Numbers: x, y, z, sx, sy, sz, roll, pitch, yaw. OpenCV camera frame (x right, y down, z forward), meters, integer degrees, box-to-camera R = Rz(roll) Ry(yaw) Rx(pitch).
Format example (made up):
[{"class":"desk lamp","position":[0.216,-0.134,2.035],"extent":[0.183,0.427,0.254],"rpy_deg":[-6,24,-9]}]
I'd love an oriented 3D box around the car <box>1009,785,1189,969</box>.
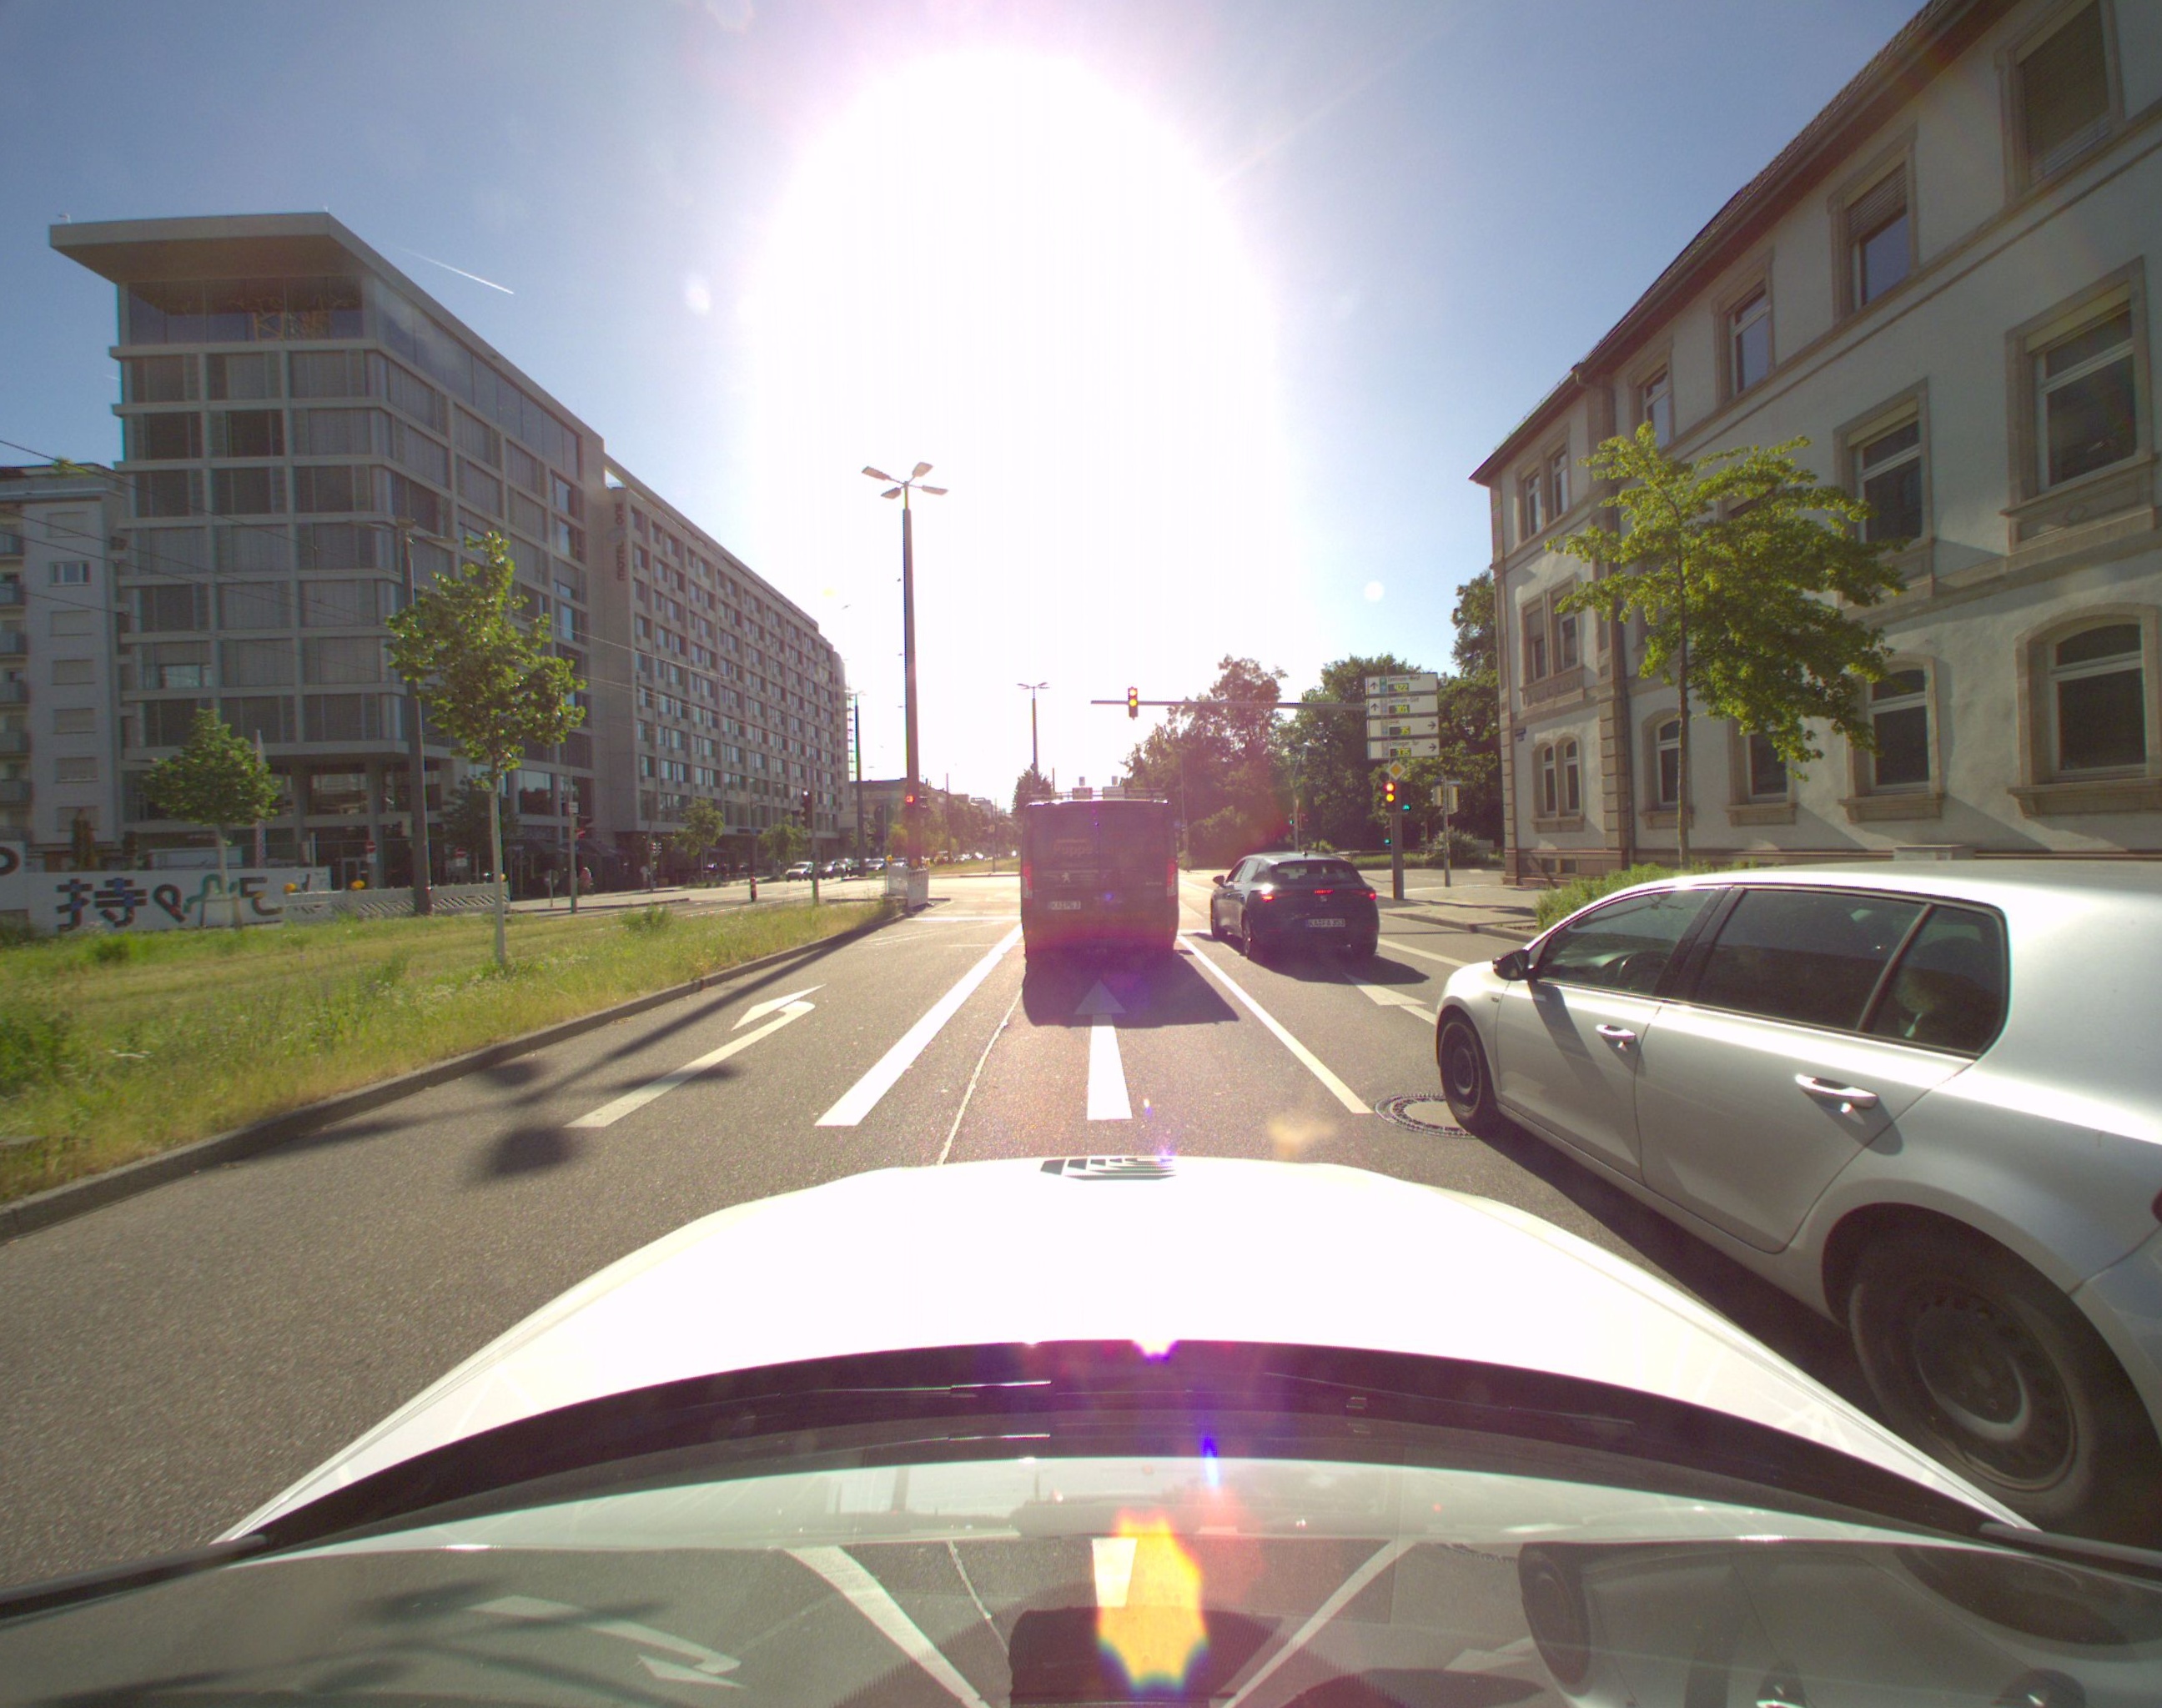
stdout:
[{"class":"car","position":[0.237,0.256,12.398],"extent":[2.211,2.267,4.484],"rpy_deg":[-1,1,0]}]

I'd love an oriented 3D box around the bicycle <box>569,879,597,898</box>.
[{"class":"bicycle","position":[-29.756,2.046,48.683],"extent":[0.584,1.100,1.625],"rpy_deg":[0,0,5]}]

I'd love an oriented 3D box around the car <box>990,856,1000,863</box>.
[{"class":"car","position":[-21.730,1.268,205.269],"extent":[1.783,1.651,4.002],"rpy_deg":[-2,0,2]}]

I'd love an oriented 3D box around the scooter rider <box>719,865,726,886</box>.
[{"class":"scooter rider","position":[-25.816,1.545,58.710],"extent":[0.341,1.453,0.239],"rpy_deg":[-2,0,1]}]

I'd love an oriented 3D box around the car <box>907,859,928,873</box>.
[{"class":"car","position":[-22.066,1.621,110.036],"extent":[1.783,1.651,4.002],"rpy_deg":[-2,0,2]}]

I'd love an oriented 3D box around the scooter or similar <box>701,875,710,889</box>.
[{"class":"scooter or similar","position":[-27.074,2.038,58.749],"extent":[0.285,0.947,0.766],"rpy_deg":[-2,0,-6]}]

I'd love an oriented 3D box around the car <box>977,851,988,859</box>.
[{"class":"car","position":[-21.431,0.145,177.096],"extent":[1.783,1.651,4.002],"rpy_deg":[-2,0,2]}]

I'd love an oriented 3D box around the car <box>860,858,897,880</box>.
[{"class":"car","position":[-16.692,1.219,67.458],"extent":[1.783,1.651,4.337],"rpy_deg":[-2,0,2]}]

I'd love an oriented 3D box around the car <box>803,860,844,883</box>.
[{"class":"car","position":[-20.276,1.338,64.296],"extent":[1.783,1.651,4.002],"rpy_deg":[-2,0,2]}]

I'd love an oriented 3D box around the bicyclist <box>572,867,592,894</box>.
[{"class":"bicyclist","position":[-29.825,1.575,48.648],"extent":[0.590,1.580,0.894],"rpy_deg":[0,0,5]}]

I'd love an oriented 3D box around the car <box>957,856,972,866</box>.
[{"class":"car","position":[-20.044,1.156,140.591],"extent":[1.783,1.651,4.002],"rpy_deg":[-2,0,2]}]

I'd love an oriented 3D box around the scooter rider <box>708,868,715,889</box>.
[{"class":"scooter rider","position":[-26.706,1.764,58.901],"extent":[0.341,1.453,0.239],"rpy_deg":[-2,0,1]}]

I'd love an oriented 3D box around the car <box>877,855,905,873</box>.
[{"class":"car","position":[-19.692,1.031,84.523],"extent":[1.783,1.651,4.002],"rpy_deg":[-2,0,2]}]

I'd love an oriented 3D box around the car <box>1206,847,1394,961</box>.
[{"class":"car","position":[3.086,0.632,12.294],"extent":[1.786,1.428,3.849],"rpy_deg":[-1,0,0]}]

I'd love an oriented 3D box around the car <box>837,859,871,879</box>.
[{"class":"car","position":[-20.114,1.305,72.284],"extent":[1.783,1.651,4.002],"rpy_deg":[-2,0,2]}]

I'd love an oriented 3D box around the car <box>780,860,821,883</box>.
[{"class":"car","position":[-22.909,1.396,66.559],"extent":[1.783,1.651,4.002],"rpy_deg":[-2,0,2]}]

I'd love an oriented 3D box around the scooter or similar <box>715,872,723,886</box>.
[{"class":"scooter or similar","position":[-26.051,1.808,58.598],"extent":[0.227,0.947,0.768],"rpy_deg":[-2,0,2]}]

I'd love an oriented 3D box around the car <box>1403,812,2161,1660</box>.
[{"class":"car","position":[2.866,0.658,3.170],"extent":[1.743,1.527,4.007],"rpy_deg":[-1,0,2]}]

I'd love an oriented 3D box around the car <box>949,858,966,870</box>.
[{"class":"car","position":[-18.702,1.547,123.570],"extent":[1.783,1.651,4.002],"rpy_deg":[-2,0,2]}]
